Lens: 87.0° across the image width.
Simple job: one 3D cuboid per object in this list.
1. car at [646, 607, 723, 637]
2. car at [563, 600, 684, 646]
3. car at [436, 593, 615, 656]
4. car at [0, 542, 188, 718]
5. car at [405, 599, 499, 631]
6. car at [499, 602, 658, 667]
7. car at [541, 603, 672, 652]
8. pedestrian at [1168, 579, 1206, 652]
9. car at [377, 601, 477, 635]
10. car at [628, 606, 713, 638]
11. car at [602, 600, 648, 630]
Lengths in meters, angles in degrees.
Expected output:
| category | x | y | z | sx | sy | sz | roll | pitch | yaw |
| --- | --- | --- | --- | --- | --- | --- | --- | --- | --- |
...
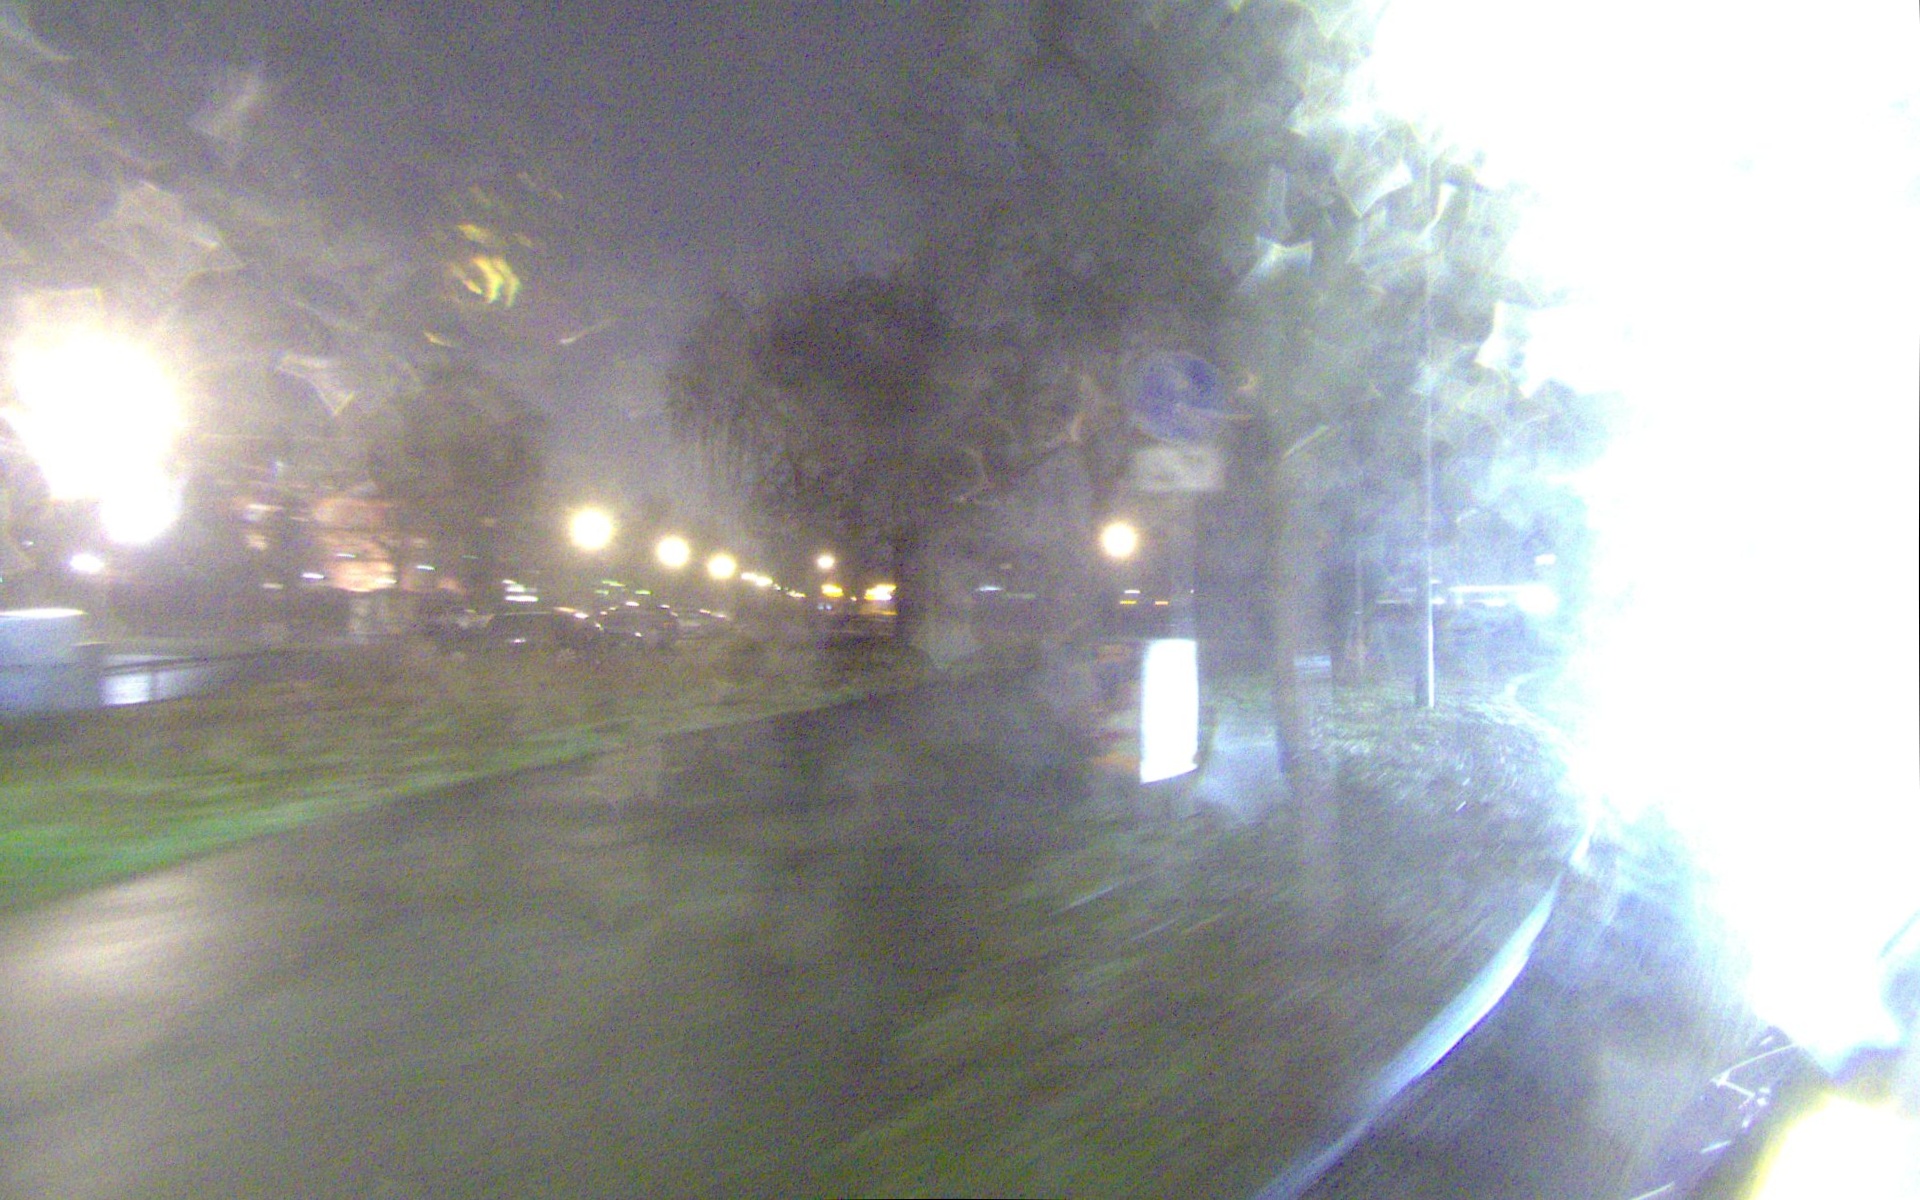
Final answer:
| category | x | y | z | sx | sy | sz | roll | pitch | yaw |
| --- | --- | --- | --- | --- | --- | --- | --- | --- | --- |
| car | -15.022 | 1.204 | 55.346 | 3.832 | 1.556 | 1.724 | 0 | -2 | -8 |
| car | -11.871 | 0.820 | 35.909 | 3.832 | 1.556 | 1.724 | 0 | -2 | -8 |
| car | -10.906 | 0.609 | 25.625 | 3.832 | 1.516 | 1.724 | 0 | -2 | -8 |
| car | -10.219 | 0.293 | 10.111 | 1.883 | 1.705 | 3.999 | -1 | 1 | 2 |
| car | -25.390 | 0.773 | 50.696 | 3.832 | 1.556 | 1.724 | 0 | -2 | -8 |
| car | -10.592 | 0.930 | 28.326 | 3.833 | 1.515 | 1.724 | -4 | 0 | -8 |
| car | -11.578 | 0.902 | 33.359 | 3.832 | 1.516 | 1.724 | 0 | -2 | -8 |
| pedestrian | 6.062 | 0.421 | 27.078 | 0.714 | 1.926 | 0.655 | 0 | -2 | -24 |
| car | -25.316 | 0.846 | 48.185 | 3.832 | 1.556 | 1.724 | 0 | -2 | -8 |
| car | -14.269 | 1.081 | 50.068 | 3.832 | 1.556 | 1.724 | 0 | -2 | -8 |
| car | -19.918 | 0.886 | 60.348 | 1.756 | 1.704 | 4.071 | 0 | -1 | -6 |
